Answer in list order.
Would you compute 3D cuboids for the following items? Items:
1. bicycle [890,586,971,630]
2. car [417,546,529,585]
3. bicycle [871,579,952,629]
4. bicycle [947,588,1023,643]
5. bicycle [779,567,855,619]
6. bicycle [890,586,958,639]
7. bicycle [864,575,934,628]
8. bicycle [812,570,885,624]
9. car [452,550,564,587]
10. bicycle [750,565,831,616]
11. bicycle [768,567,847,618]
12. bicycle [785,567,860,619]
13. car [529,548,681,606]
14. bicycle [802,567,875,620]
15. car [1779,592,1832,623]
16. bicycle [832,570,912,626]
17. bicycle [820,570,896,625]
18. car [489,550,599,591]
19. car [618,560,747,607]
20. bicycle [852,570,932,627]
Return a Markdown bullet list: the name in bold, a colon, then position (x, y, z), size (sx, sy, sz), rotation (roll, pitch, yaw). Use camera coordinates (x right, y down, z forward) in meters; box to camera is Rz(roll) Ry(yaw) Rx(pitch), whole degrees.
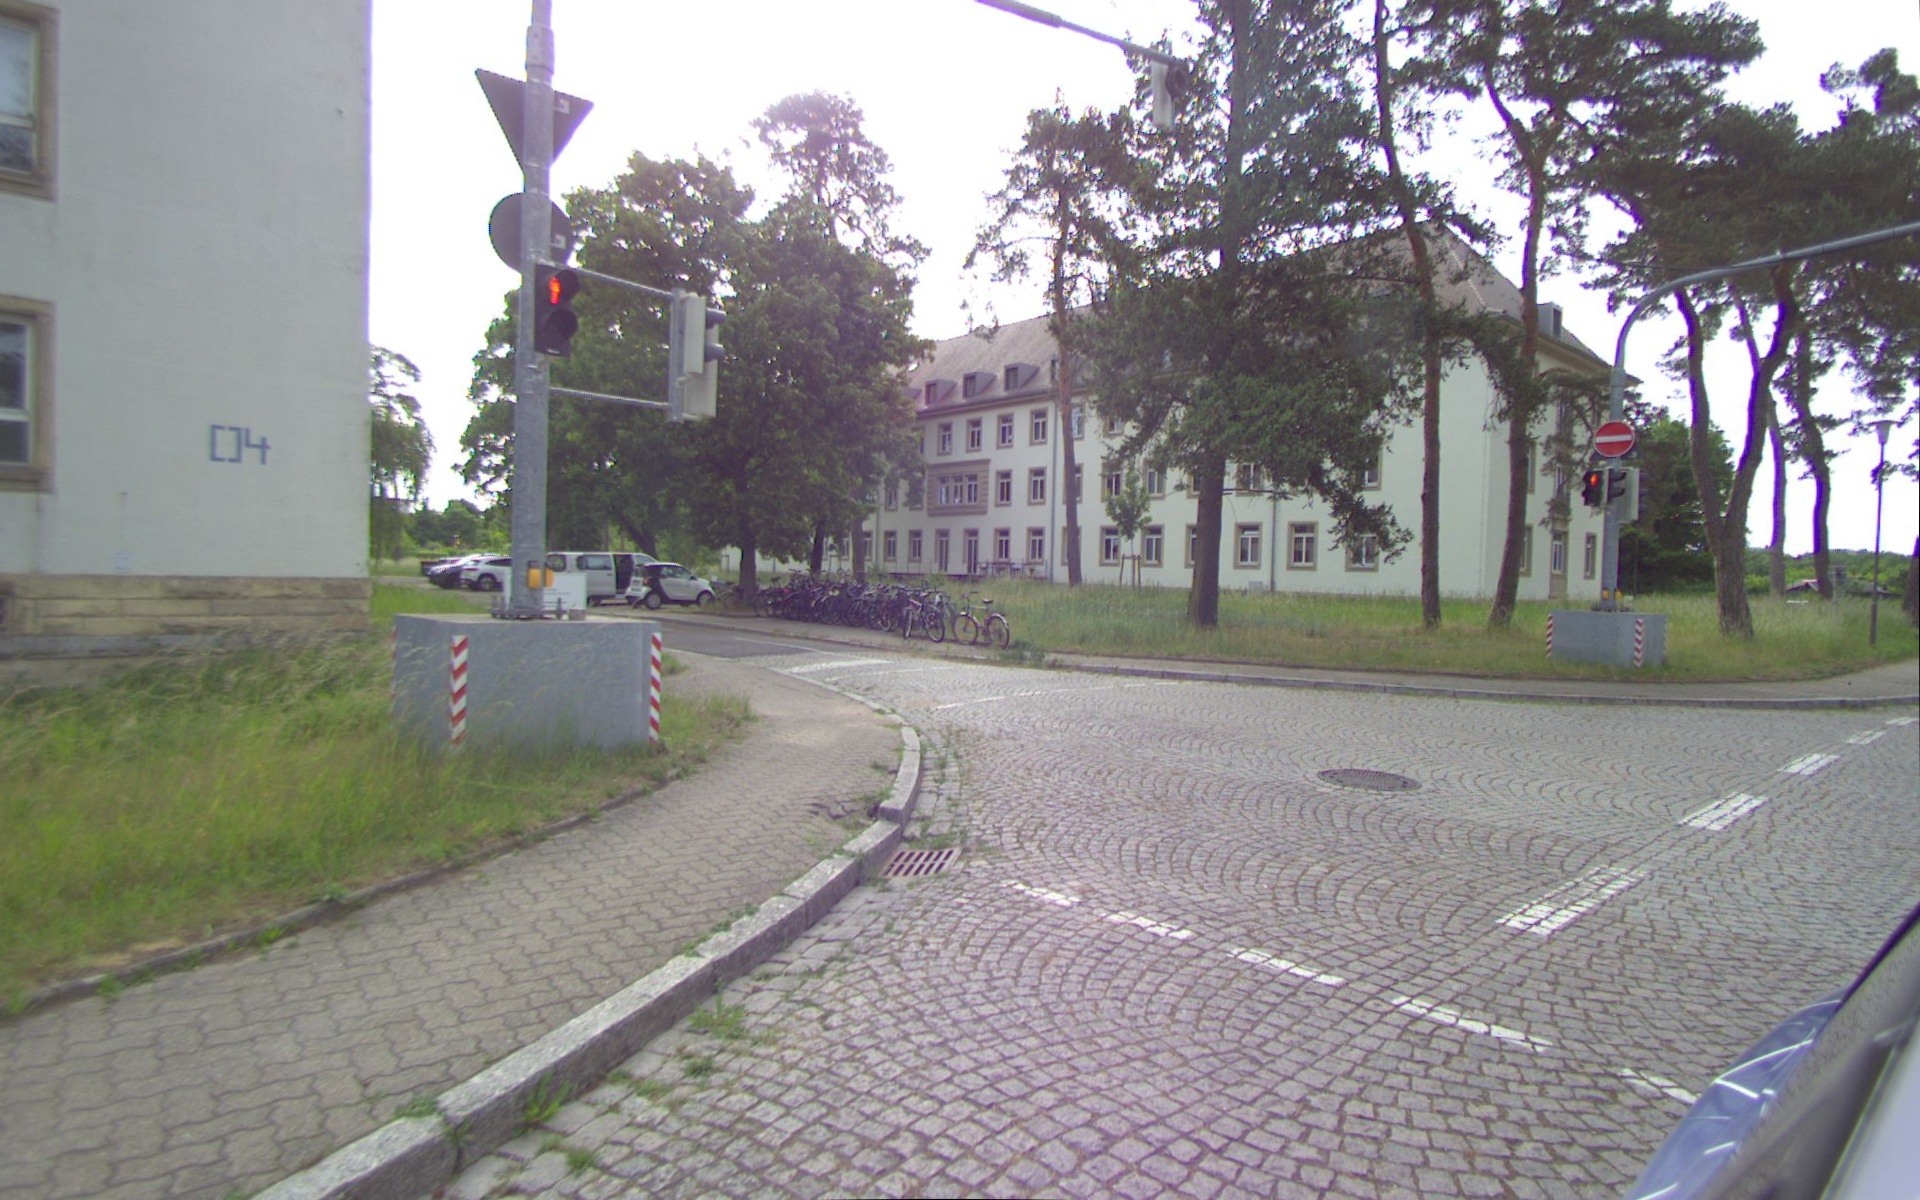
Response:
- **bicycle**: position (-0.670, 0.182, 23.270), size (1.866, 0.961, 0.543), rotation (0, 1, -36)
- **car**: position (-23.861, -1.658, 49.669), size (4.613, 1.795, 1.998), rotation (0, 2, -40)
- **bicycle**: position (-1.127, 0.096, 23.738), size (1.866, 1.115, 0.543), rotation (0, 1, -36)
- **bicycle**: position (0.472, 0.294, 19.882), size (0.521, 0.992, 1.623), rotation (1, 2, -41)
- **bicycle**: position (-3.838, -0.186, 27.213), size (1.977, 1.336, 0.542), rotation (0, 1, -36)
- **bicycle**: position (-0.765, 0.242, 21.128), size (0.533, 1.027, 1.539), rotation (1, 2, -41)
- **bicycle**: position (-1.445, 0.039, 24.229), size (1.608, 1.230, 0.543), rotation (1, 1, -36)
- **bicycle**: position (-2.823, -0.070, 25.834), size (1.882, 1.336, 0.393), rotation (0, 1, -36)
- **car**: position (-21.273, -1.463, 47.687), size (4.437, 1.638, 1.998), rotation (0, 2, -40)
- **bicycle**: position (-4.699, -0.261, 28.161), size (2.062, 1.384, 0.760), rotation (1, 2, -36)
- **bicycle**: position (-4.154, -0.200, 27.693), size (2.092, 1.336, 0.556), rotation (0, 1, -36)
- **bicycle**: position (-3.608, -0.176, 26.662), size (1.902, 1.336, 0.555), rotation (0, 1, -36)
- **car**: position (-12.745, -0.816, 36.614), size (2.225, 1.933, 4.804), rotation (3, 2, 34)
- **bicycle**: position (-3.141, -0.160, 26.260), size (1.817, 1.336, 0.557), rotation (1, 1, -36)
- **car**: position (45.384, 0.399, 54.304), size (3.221, 1.451, 1.640), rotation (-3, 4, -40)
- **bicycle**: position (-2.159, -0.046, 25.031), size (1.938, 1.336, 0.578), rotation (0, 1, -36)
- **bicycle**: position (-2.554, -0.058, 25.470), size (1.883, 1.336, 0.507), rotation (0, 1, -36)
- **car**: position (-17.757, -1.241, 43.266), size (3.929, 1.638, 1.998), rotation (0, 2, -40)
- **car**: position (-9.563, -0.561, 35.003), size (3.860, 1.549, 1.861), rotation (0, 2, -39)
- **bicycle**: position (-1.650, -0.034, 24.720), size (2.009, 1.336, 0.439), rotation (0, 1, -36)
